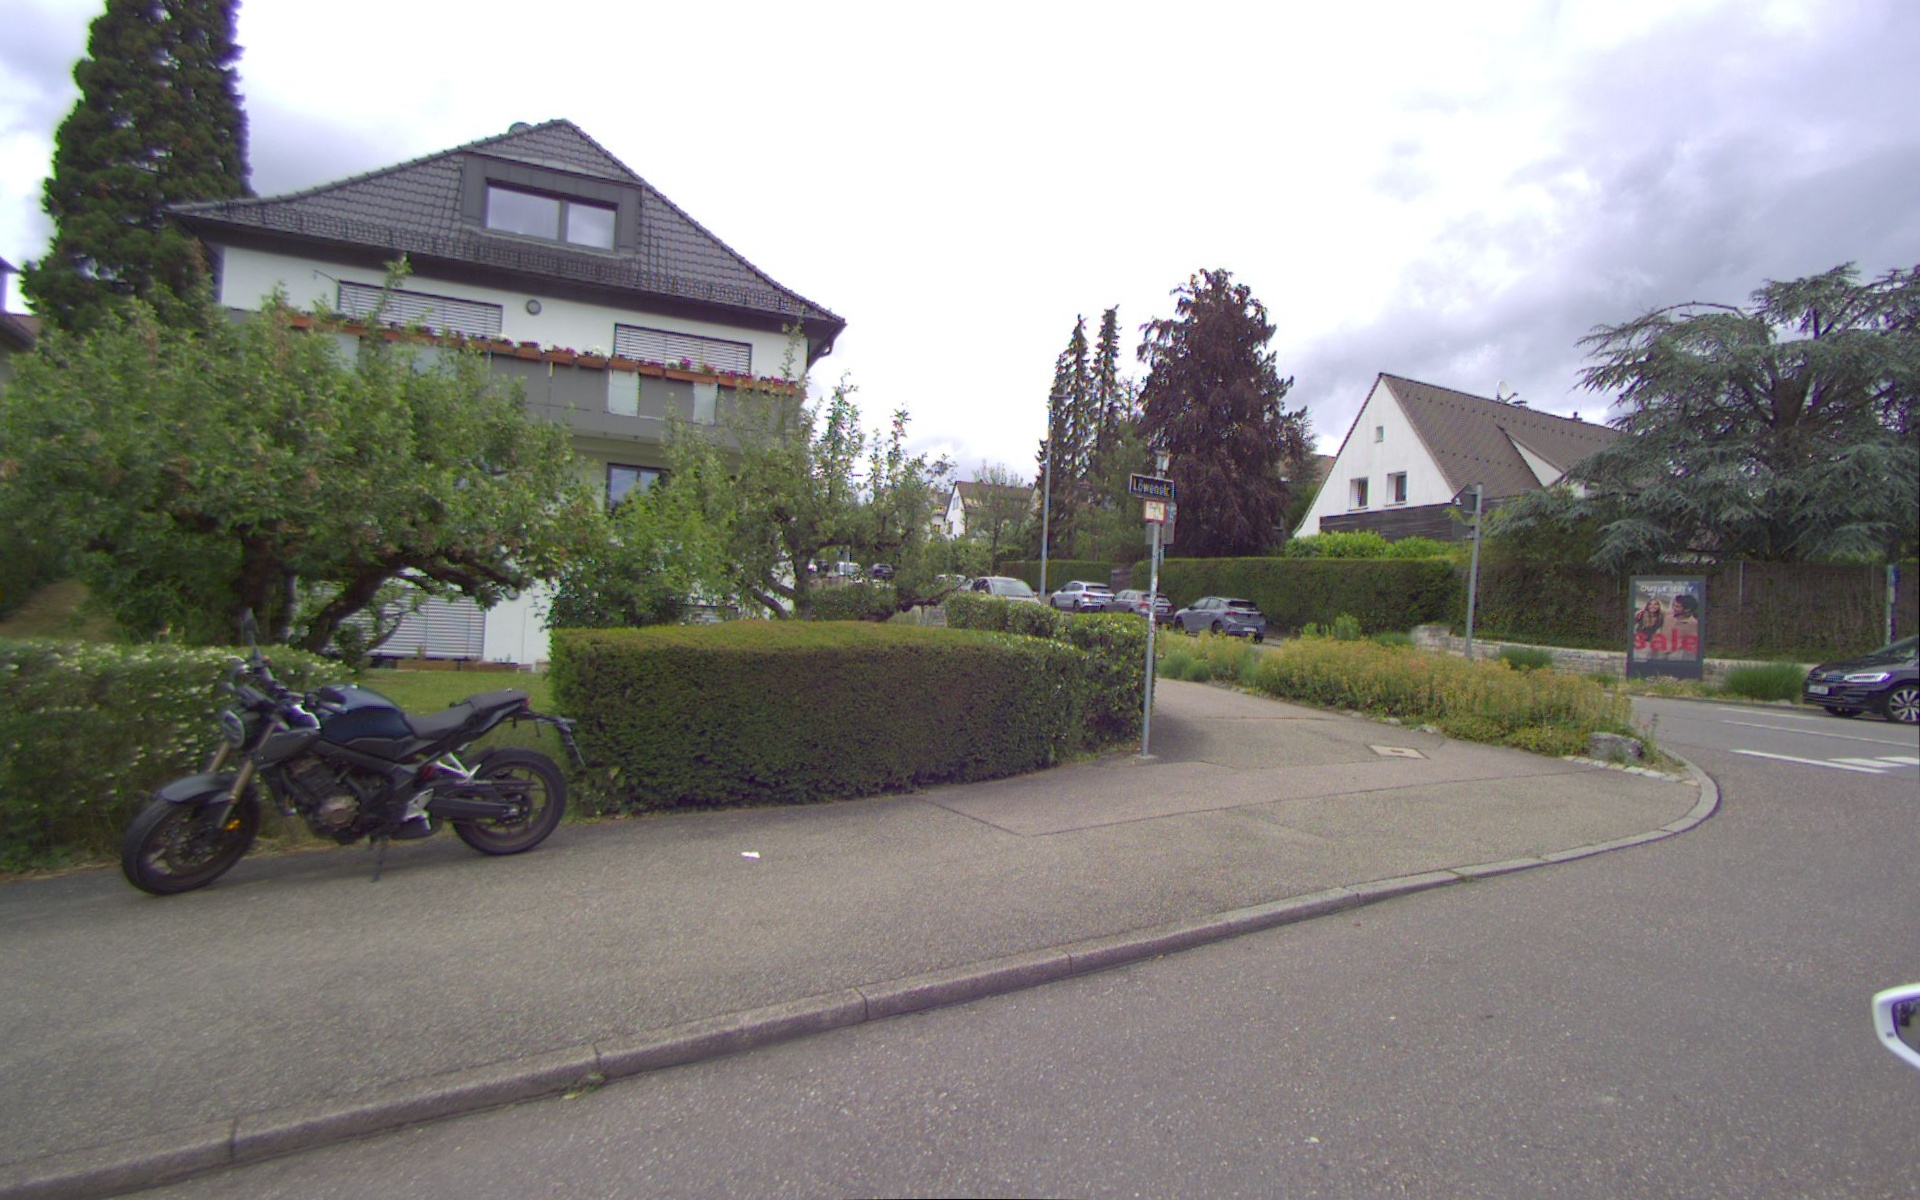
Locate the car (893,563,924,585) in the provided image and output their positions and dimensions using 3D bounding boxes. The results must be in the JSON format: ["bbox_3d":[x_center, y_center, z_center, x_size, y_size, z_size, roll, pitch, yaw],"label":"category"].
[{"bbox_3d":[-4.196,-2.128,81.731,1.639,1.528,3.745,4,2,-15],"label":"car"}]

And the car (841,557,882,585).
[{"bbox_3d":[-5.996,-1.780,60.858,1.737,1.584,3.842,2,2,-16],"label":"car"}]

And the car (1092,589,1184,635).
[{"bbox_3d":[7.073,0.439,40.358,1.832,1.483,4.155,4,1,-17],"label":"car"}]

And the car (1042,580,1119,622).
[{"bbox_3d":[5.436,0.003,45.793,1.832,1.603,4.155,4,1,-17],"label":"car"}]

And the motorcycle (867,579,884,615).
[{"bbox_3d":[-2.911,-0.125,34.448,0.423,1.176,1.860,2,1,-8],"label":"motorcycle"}]

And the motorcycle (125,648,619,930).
[{"bbox_3d":[-2.985,0.860,5.290,2.127,1.155,0.767,1,-1,-38],"label":"motorcycle"}]

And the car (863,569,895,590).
[{"bbox_3d":[-7.383,-1.871,91.120,1.968,1.639,4.498,6,1,-15],"label":"car"}]

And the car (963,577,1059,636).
[{"bbox_3d":[1.540,0.157,31.780,1.853,1.606,3.858,3,2,-15],"label":"car"}]

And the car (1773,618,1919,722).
[{"bbox_3d":[16.662,1.220,16.899,4.223,1.633,1.855,3,-1,11],"label":"car"}]

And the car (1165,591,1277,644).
[{"bbox_3d":[8.882,0.559,34.554,1.832,1.483,3.984,4,1,-17],"label":"car"}]
